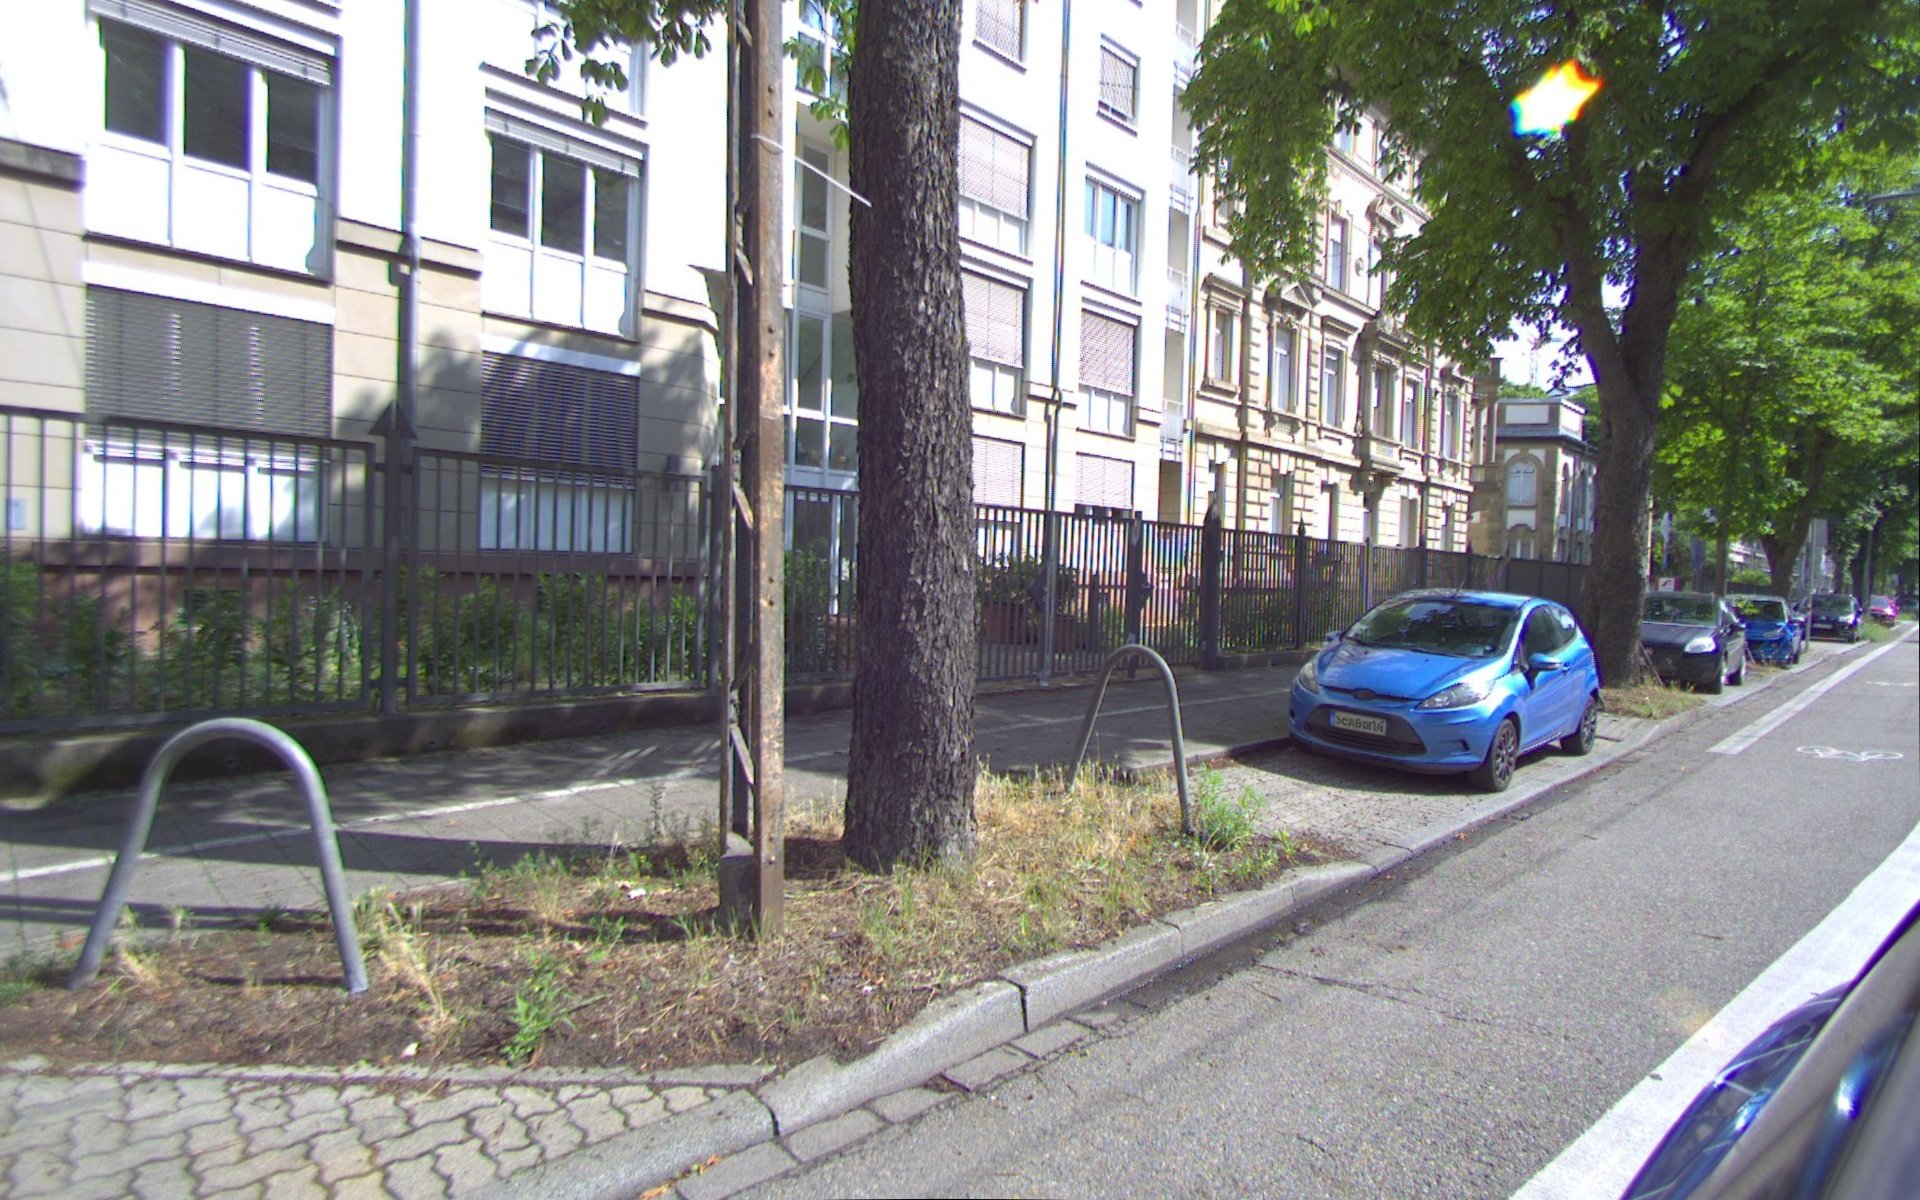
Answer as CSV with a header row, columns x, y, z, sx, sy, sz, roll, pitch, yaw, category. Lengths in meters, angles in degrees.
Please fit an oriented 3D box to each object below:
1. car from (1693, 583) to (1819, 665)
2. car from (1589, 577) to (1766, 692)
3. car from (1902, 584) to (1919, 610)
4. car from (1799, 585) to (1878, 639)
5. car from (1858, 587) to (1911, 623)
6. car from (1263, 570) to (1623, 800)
x,y,z,sx,sy,sz,roll,pitch,yaw,category
17.215,0.454,21.830,1.676,1.493,3.603,7,5,44,car
11.486,0.461,16.114,1.676,1.493,3.603,7,5,44,car
63.923,-0.170,67.296,1.741,1.592,3.868,7,5,44,car
30.188,0.368,34.739,1.741,1.592,3.603,7,5,44,car
46.477,0.209,50.867,1.741,1.592,3.868,7,5,44,car
4.355,0.568,8.887,3.601,1.493,1.644,0,5,-45,car
